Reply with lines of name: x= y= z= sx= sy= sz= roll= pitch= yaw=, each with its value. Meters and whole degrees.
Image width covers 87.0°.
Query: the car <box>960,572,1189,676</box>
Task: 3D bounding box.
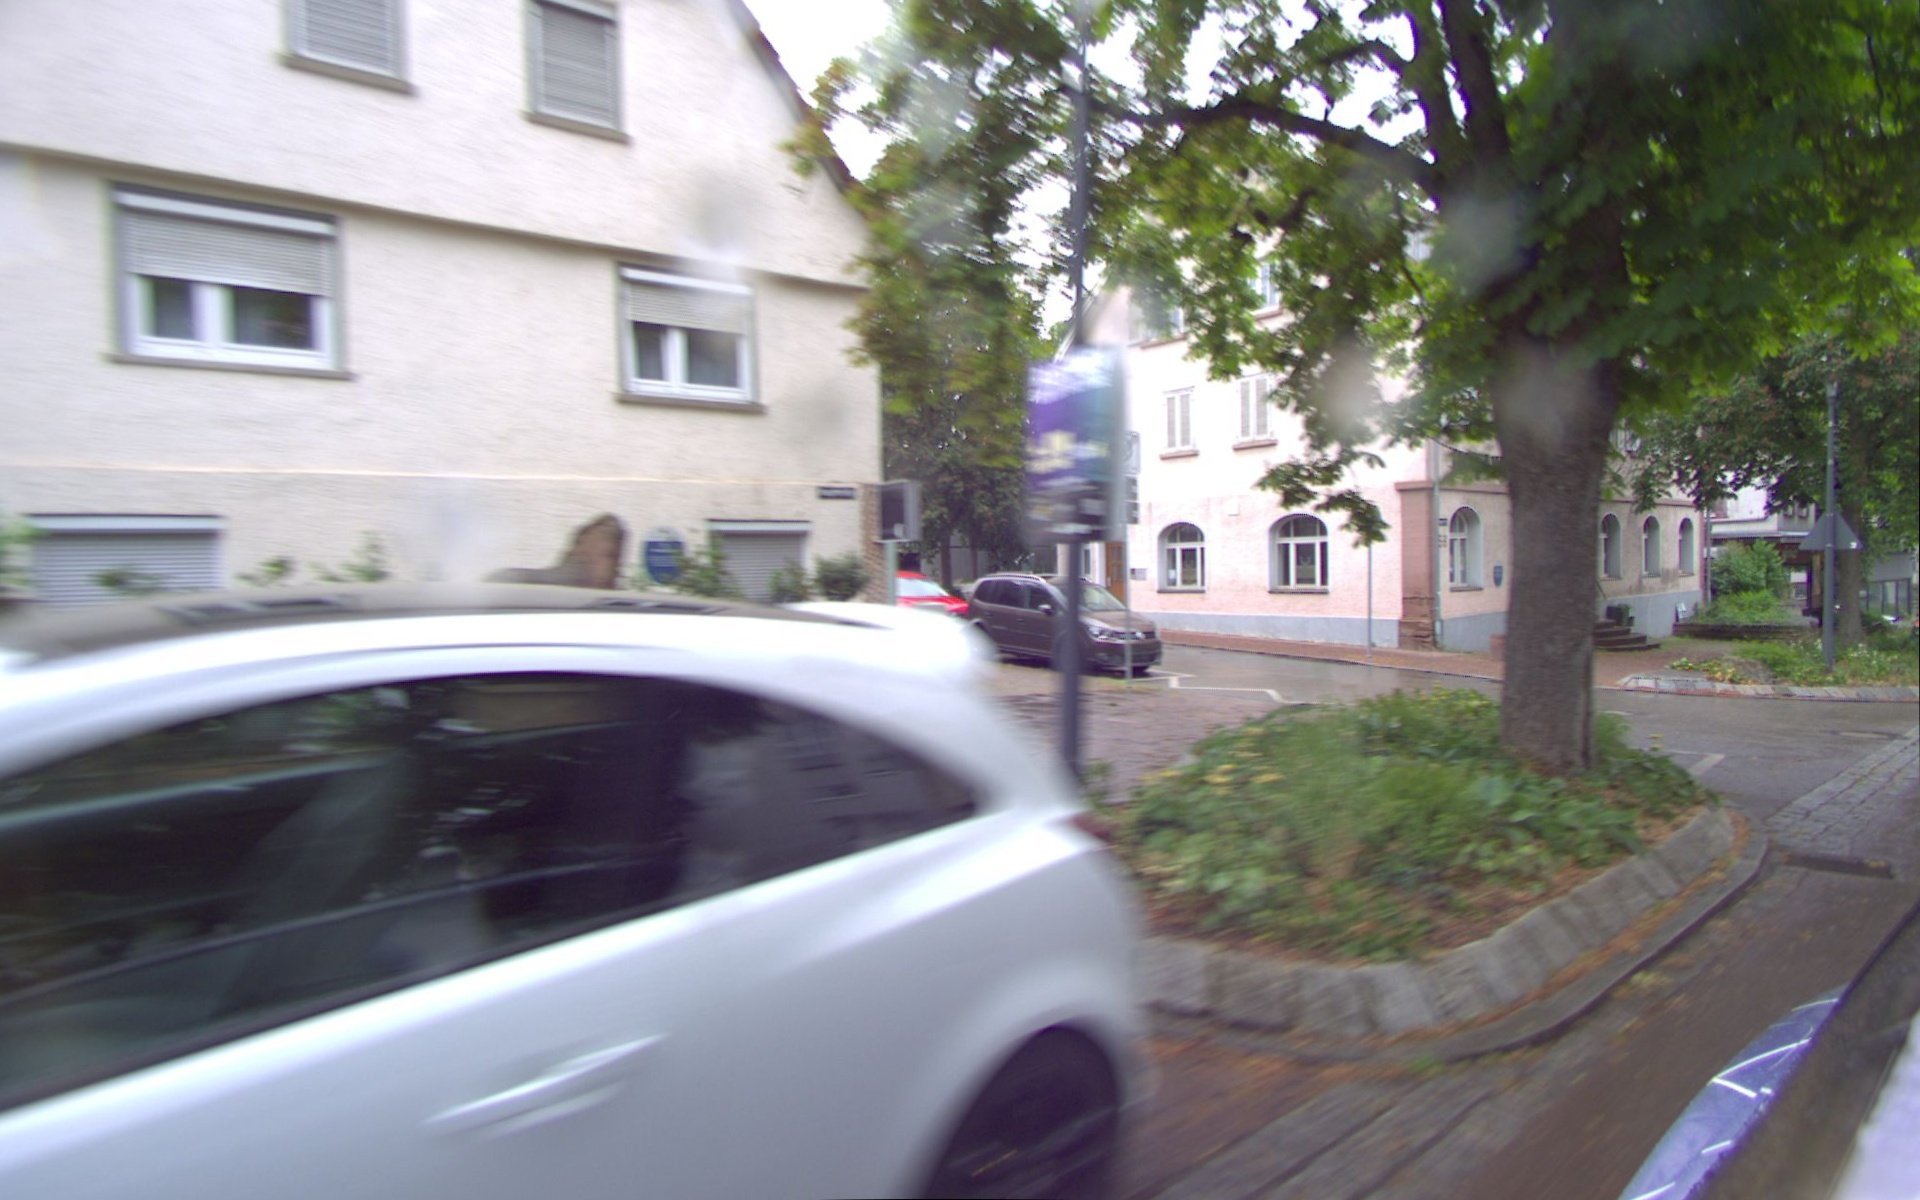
car: x=1.932 y=0.331 z=18.324 sx=1.805 sy=1.603 sz=4.196 roll=0 pitch=2 yaw=-34

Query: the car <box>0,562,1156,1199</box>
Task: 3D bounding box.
car: x=-1.526 y=0.656 z=1.562 sx=3.729 sy=1.417 sz=1.683 roll=0 pitch=1 yaw=-42

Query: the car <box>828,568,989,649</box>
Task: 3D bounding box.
car: x=-1.268 y=0.117 z=23.062 sx=1.673 sy=1.641 sz=4.195 roll=0 pitch=2 yaw=-36
